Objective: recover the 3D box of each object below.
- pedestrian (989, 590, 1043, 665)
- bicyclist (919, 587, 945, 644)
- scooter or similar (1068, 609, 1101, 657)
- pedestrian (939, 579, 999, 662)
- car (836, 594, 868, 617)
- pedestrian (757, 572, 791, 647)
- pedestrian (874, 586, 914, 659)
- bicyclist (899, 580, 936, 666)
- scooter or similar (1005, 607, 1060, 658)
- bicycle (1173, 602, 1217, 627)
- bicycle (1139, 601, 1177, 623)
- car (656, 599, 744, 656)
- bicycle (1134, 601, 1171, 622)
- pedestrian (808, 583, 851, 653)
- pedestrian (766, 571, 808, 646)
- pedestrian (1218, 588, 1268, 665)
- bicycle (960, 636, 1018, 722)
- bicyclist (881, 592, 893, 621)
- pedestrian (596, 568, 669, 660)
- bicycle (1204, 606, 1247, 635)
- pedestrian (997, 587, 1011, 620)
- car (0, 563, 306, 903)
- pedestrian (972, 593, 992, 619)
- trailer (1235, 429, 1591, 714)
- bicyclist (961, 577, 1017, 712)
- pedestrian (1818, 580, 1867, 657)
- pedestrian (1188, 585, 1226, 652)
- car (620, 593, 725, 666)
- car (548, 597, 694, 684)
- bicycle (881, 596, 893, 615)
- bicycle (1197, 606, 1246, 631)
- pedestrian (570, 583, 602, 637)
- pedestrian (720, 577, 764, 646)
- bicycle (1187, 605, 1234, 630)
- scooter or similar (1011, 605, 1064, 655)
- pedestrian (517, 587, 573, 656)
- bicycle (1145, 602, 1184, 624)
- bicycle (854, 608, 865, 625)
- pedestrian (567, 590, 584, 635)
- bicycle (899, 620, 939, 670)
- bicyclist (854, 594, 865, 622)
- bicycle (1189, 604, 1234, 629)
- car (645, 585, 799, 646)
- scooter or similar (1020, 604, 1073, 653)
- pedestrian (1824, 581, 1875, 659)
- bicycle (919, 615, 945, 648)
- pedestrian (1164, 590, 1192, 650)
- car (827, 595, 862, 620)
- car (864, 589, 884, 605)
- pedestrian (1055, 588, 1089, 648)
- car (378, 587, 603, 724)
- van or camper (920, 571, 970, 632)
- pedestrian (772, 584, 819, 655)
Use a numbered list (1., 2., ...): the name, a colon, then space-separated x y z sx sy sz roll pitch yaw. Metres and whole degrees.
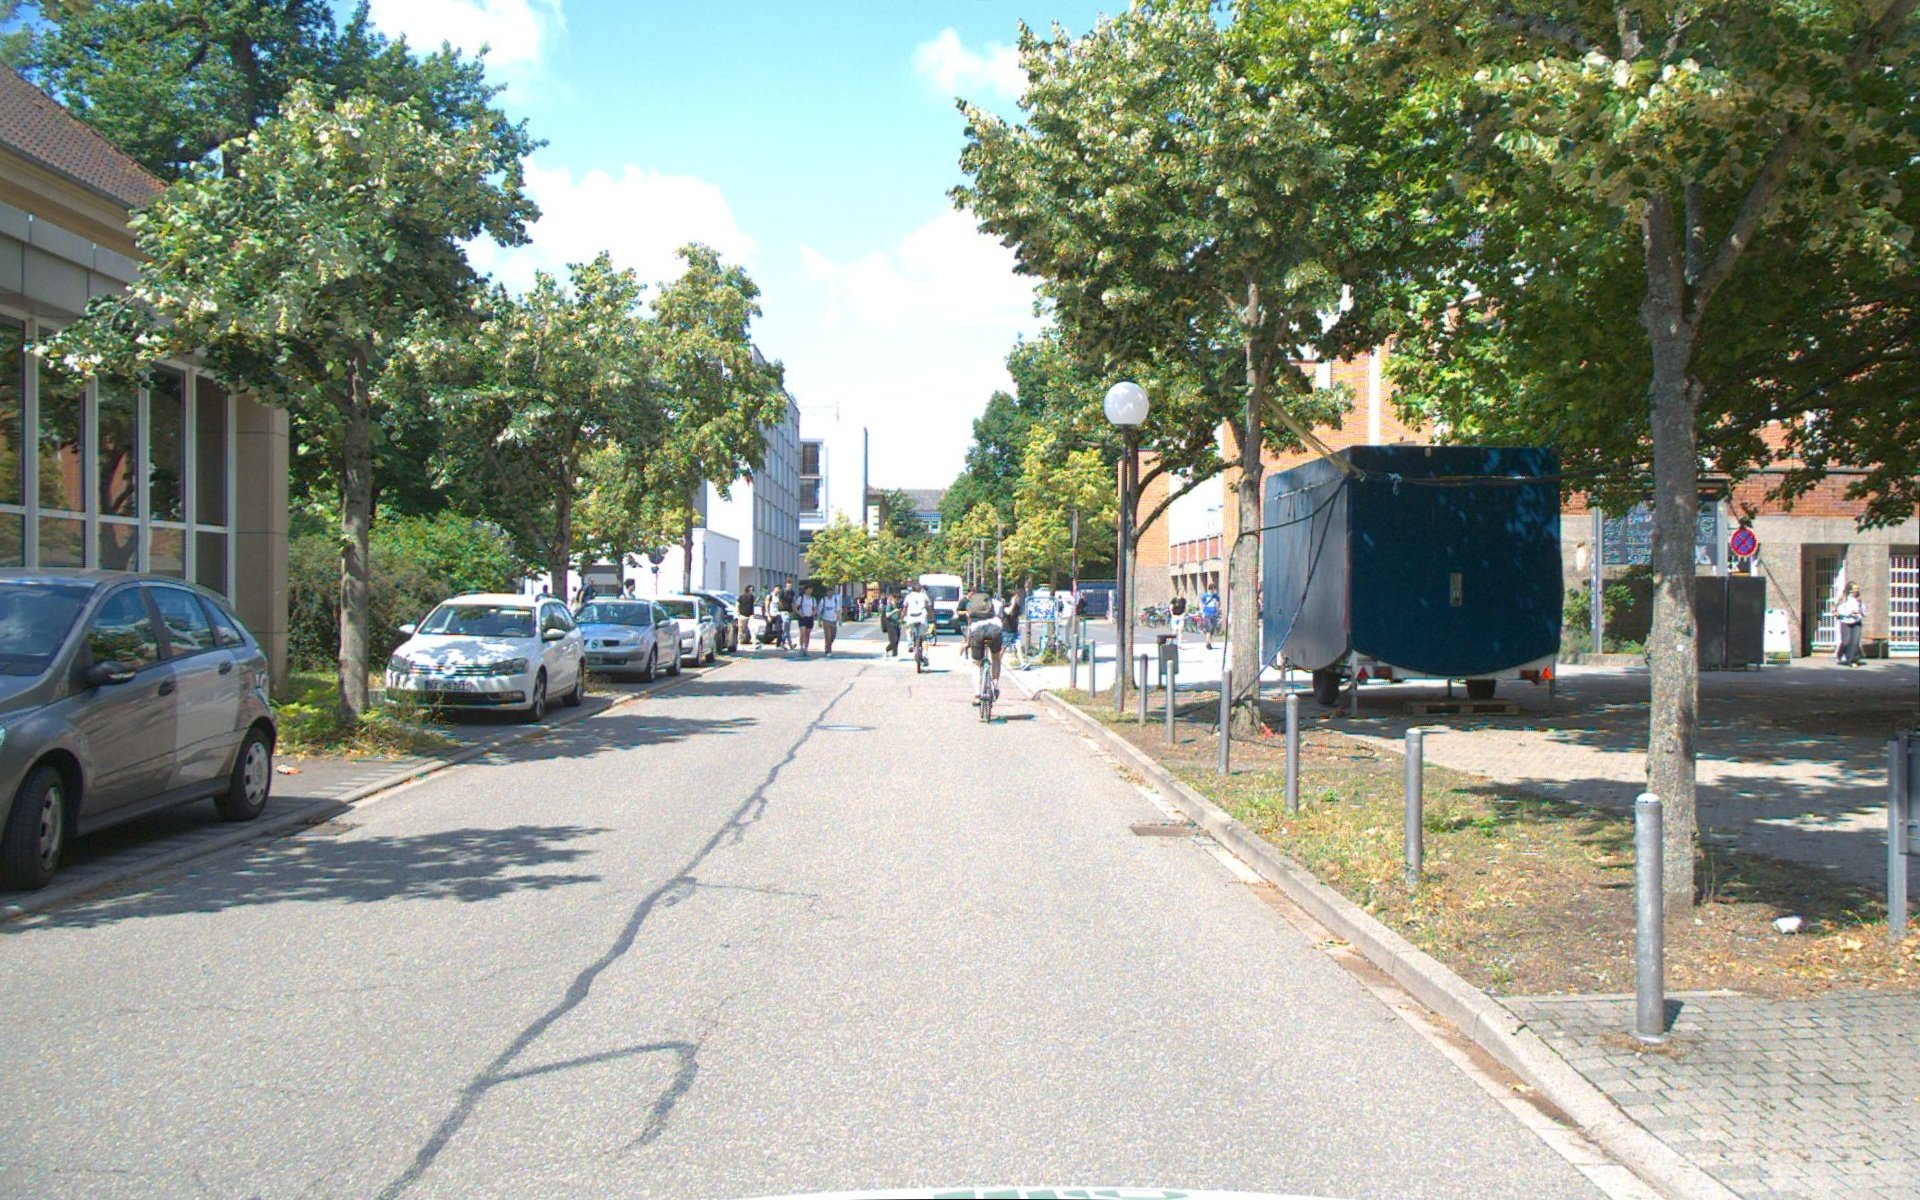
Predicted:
1. pedestrian: 1.247 0.594 36.805 0.844 1.623 0.817 -2 1 -44
2. bicyclist: -0.878 0.478 52.418 0.792 1.787 0.692 1 -1 -1
3. scooter or similar: 3.128 0.820 41.443 0.635 1.180 1.265 0 0 14
4. pedestrian: 0.219 0.467 39.431 1.093 1.891 0.852 4 3 33
5. car: -7.456 0.356 114.426 1.758 1.557 4.001 0 0 3
6. pedestrian: -5.018 0.262 44.592 0.610 2.015 0.819 0 -2 -33
7. pedestrian: -1.636 0.545 40.789 0.691 1.750 0.988 2 0 -19
8. bicyclist: -0.899 0.487 35.199 0.755 1.787 0.848 -1 0 -2
9. scooter or similar: 1.841 0.816 42.190 1.237 1.287 0.649 0 0 31
10. bicycle: 9.941 0.631 69.918 1.773 1.002 0.560 -2 0 -2
11. bicycle: 9.643 0.592 80.552 1.773 1.002 0.560 -2 0 -2
12. car: -6.487 0.659 41.631 1.611 1.323 3.927 0 0 0
13. bicycle: 9.657 0.578 82.889 1.773 1.002 0.560 -2 0 -2
14. pedestrian: -3.347 0.465 42.383 0.891 1.769 0.676 0 0 37
15. pedestrian: -4.758 0.231 45.505 0.809 2.014 0.691 3 0 23
16. pedestrian: 6.492 0.599 37.955 0.858 1.666 0.948 -4 0 -1
17. bicycle: 0.360 0.978 21.120 0.692 1.010 1.910 1 0 0
18. bicyclist: -4.338 0.394 98.346 0.654 1.711 0.992 -1 0 -1
19. pedestrian: -6.513 0.282 32.889 1.082 1.746 0.710 3 -3 18
20. bicycle: 9.954 0.763 62.000 1.504 1.051 0.560 -1 0 -2
21. pedestrian: 2.571 0.225 96.359 0.774 1.892 1.026 -1 0 0
22. car: -5.405 0.595 9.592 1.722 1.583 4.111 2 0 -3
23. pedestrian: 1.803 0.514 136.478 1.470 2.031 1.645 -3 1 -3
24. trailer: 5.548 -0.329 21.469 2.638 3.105 6.254 -1 0 -2
25. bicyclist: 0.366 0.560 21.173 0.702 1.691 1.095 0 -1 0
26. pedestrian: 19.130 0.396 35.853 0.646 1.635 0.678 -1 0 -16
27. pedestrian: 6.984 0.505 46.781 0.698 1.818 0.748 -4 2 -21
28. car: -6.098 0.592 35.437 1.628 1.436 3.806 1 0 -2
29. car: -5.928 0.668 29.367 1.690 1.367 4.165 2 0 0
30. bicycle: -4.340 0.354 98.270 0.663 0.982 2.002 2 -4 -1
31. bicycle: 10.097 0.717 63.938 1.773 0.928 0.560 -1 0 -2
32. pedestrian: -12.867 0.346 56.903 0.962 1.817 0.668 0 -1 -3
33. pedestrian: -5.901 0.304 44.869 0.785 1.803 0.854 3 0 23
34. bicycle: 10.032 0.707 66.196 1.773 0.928 0.560 -2 0 -2
35. scooter or similar: 2.016 0.777 43.009 1.237 1.287 0.649 0 0 31
36. pedestrian: -12.583 0.660 50.152 1.153 1.937 1.016 -2 -9 31
37. bicycle: 9.783 0.599 79.021 1.773 1.002 0.560 -2 0 -2
38. bicycle: -5.919 0.962 97.517 0.663 0.981 2.002 0 0 -3
39. pedestrian: -15.626 0.516 67.208 0.540 1.795 0.586 1 -1 -1
40. bicycle: -0.882 0.951 35.105 0.792 1.020 2.122 -1 -1 -2
41. bicyclist: -5.916 0.472 97.366 0.630 1.629 0.908 -1 0 -3
42. bicycle: 10.332 0.676 67.971 1.773 1.002 0.560 -2 0 -2
43. car: -7.369 0.463 51.050 4.422 1.647 1.920 2 -1 30
44. scooter or similar: 2.293 0.752 43.788 1.237 1.287 0.638 0 0 31
45. pedestrian: 18.786 0.418 34.927 0.646 1.635 0.678 -1 0 -16
46. bicycle: -0.883 0.980 52.375 0.792 1.020 2.123 1 -1 0
47. pedestrian: 6.128 0.555 46.572 0.494 1.658 0.568 -4 2 -21
48. car: -7.446 0.490 107.011 1.758 1.557 4.001 0 0 3
49. car: -9.036 -0.318 173.586 1.758 1.557 4.001 0 0 3
50. pedestrian: 3.390 0.537 50.011 0.938 1.724 0.705 2 2 9
51. car: -5.753 0.624 20.828 1.691 1.482 4.580 2 0 -3
52. van or camper: -0.616 0.091 70.255 1.952 2.488 4.570 -1 -1 1
53. pedestrian: -4.178 0.500 42.011 0.965 1.770 0.697 -1 -1 38
